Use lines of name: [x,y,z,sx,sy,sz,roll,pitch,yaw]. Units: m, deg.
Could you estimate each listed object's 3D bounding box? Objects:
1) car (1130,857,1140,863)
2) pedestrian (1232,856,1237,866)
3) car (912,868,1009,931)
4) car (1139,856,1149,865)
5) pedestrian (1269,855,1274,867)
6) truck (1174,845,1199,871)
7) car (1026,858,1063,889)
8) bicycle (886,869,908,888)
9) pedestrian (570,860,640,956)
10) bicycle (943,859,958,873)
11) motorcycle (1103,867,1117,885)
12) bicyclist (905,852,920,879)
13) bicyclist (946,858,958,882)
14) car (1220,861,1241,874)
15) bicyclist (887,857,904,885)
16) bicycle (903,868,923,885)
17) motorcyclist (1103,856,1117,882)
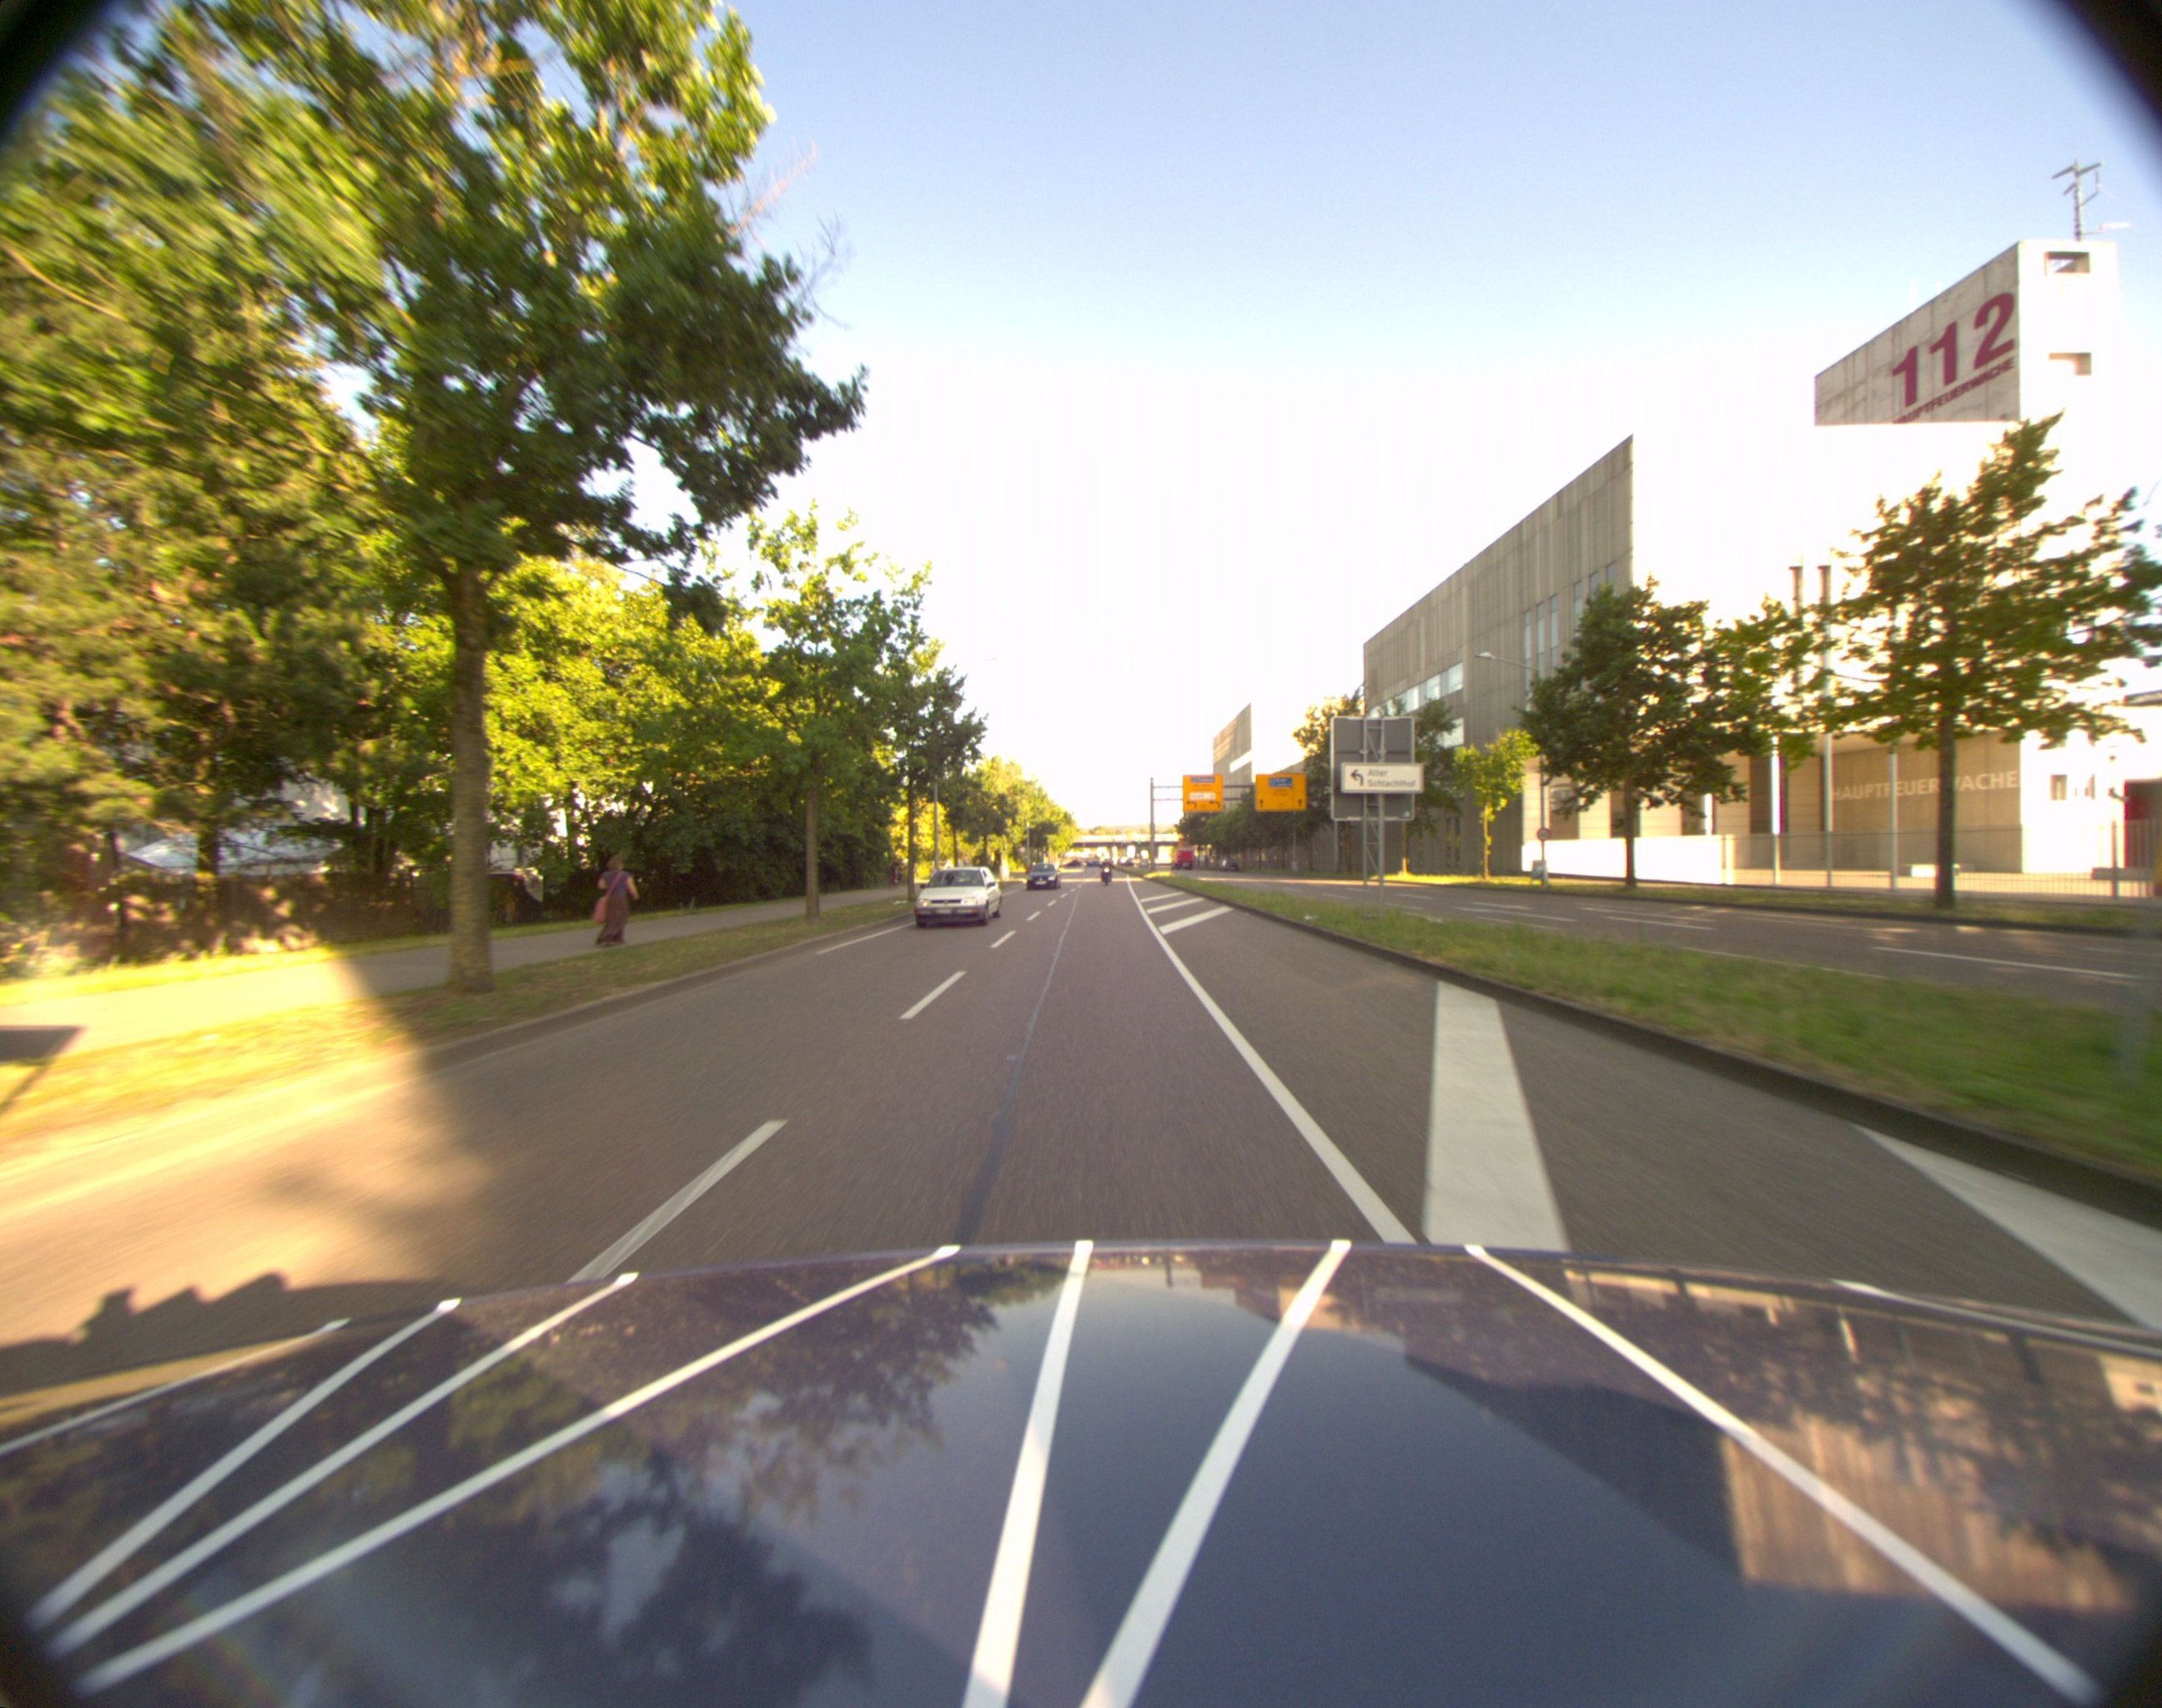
car: [12.216,1.336,172.421,1.930,1.510,4.000,0,0,1]
pedestrian: [25.343,1.156,125.745,0.698,1.619,0.725,-1,0,1]
car: [-2.939,1.075,19.316,1.614,1.390,4.040,-2,-1,3]
car: [12.656,1.282,152.814,1.998,1.805,4.402,0,0,2]
pedestrian: [27.482,1.007,109.746,0.604,1.757,0.649,-1,0,2]
truck: [15.806,0.590,114.362,3.005,3.789,10.092,-1,0,4]
car: [-1.951,1.021,41.540,1.726,1.491,4.213,-3,1,0]
bicycle: [-9.904,1.307,40.926,0.618,0.968,1.822,-1,0,3]
pedestrian: [-8.036,0.887,12.862,0.673,1.564,0.910,1,0,-7]
bicycle: [-9.552,0.849,55.802,0.618,0.968,2.059,-1,0,3]
motorcycle: [1.670,1.273,44.336,0.749,0.977,2.140,-1,0,0]
bicyclist: [-10.080,0.694,45.473,0.604,1.569,0.848,-1,0,3]
bicyclist: [-9.532,1.165,56.167,0.604,1.723,0.848,-1,0,3]
car: [18.024,1.573,91.561,1.600,1.504,3.866,-1,0,-2]
bicyclist: [-9.933,0.907,40.667,0.614,1.493,0.848,-1,0,3]
bicycle: [-10.060,1.331,45.489,0.618,0.968,2.059,-1,0,3]
motorcyclist: [1.671,0.868,44.177,0.734,1.503,0.919,-1,1,0]
